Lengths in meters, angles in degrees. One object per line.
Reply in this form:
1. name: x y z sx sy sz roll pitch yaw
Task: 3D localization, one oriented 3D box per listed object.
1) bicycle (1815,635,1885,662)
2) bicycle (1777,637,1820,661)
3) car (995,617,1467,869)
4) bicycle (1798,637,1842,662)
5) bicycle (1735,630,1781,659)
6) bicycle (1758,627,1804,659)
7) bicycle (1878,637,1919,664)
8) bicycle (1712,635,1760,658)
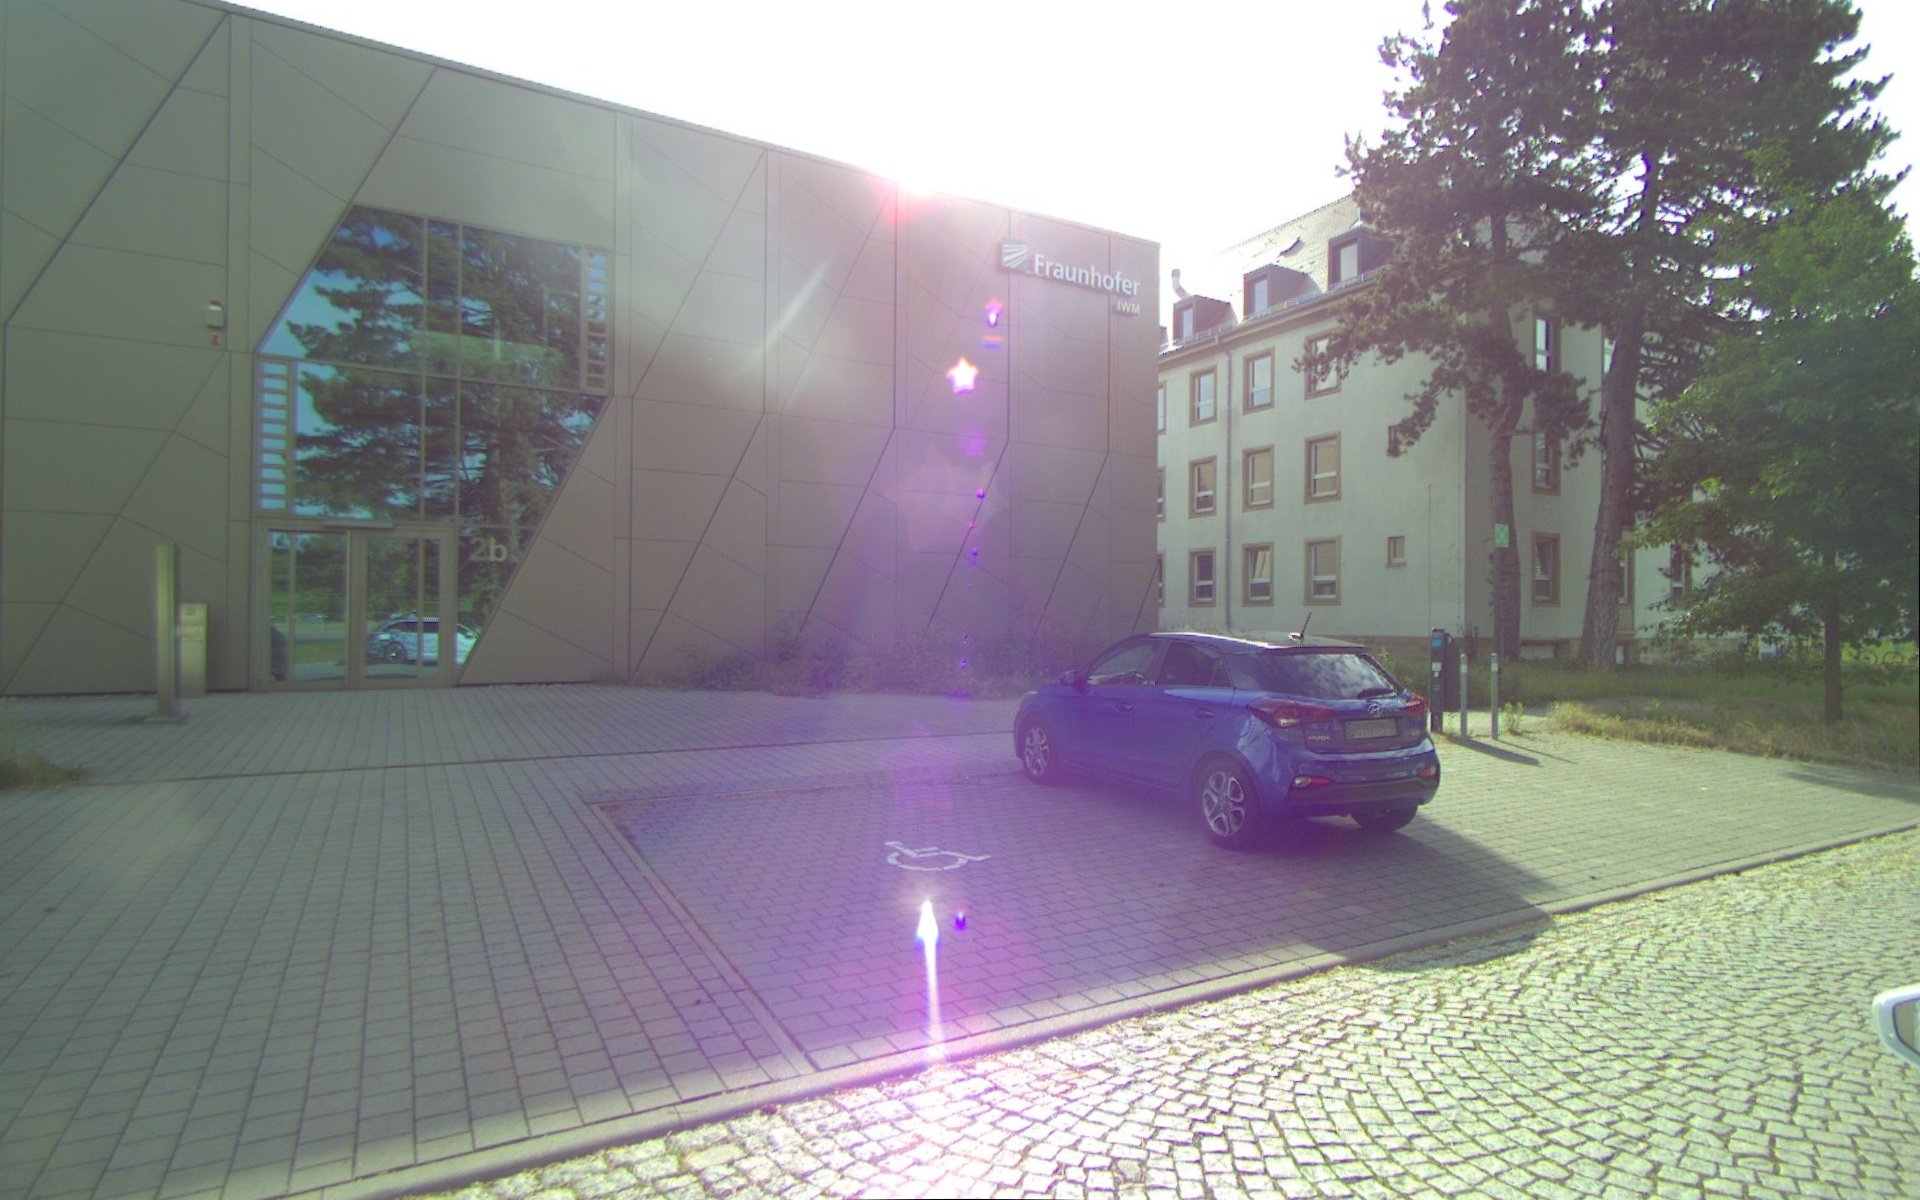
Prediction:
1. bicycle: 37.935 2.053 42.839 0.819 1.123 2.105 1 -1 -32
2. bicycle: 37.898 2.192 45.395 2.099 1.061 0.822 1 -1 -30
3. car: 1.977 0.952 8.460 1.698 1.483 3.820 1 0 -28
4. bicycle: 38.308 2.200 44.731 2.099 1.061 0.822 1 -1 -30
5. bicycle: 37.185 2.063 46.785 2.523 1.298 0.822 1 -1 -30
6. bicycle: 37.813 1.982 46.258 2.523 1.456 0.822 1 -1 -30
7. bicycle: 39.031 2.069 41.027 0.819 1.061 2.105 1 -1 -32
8. bicycle: 36.753 2.174 47.573 2.523 1.061 0.896 1 -1 -30
